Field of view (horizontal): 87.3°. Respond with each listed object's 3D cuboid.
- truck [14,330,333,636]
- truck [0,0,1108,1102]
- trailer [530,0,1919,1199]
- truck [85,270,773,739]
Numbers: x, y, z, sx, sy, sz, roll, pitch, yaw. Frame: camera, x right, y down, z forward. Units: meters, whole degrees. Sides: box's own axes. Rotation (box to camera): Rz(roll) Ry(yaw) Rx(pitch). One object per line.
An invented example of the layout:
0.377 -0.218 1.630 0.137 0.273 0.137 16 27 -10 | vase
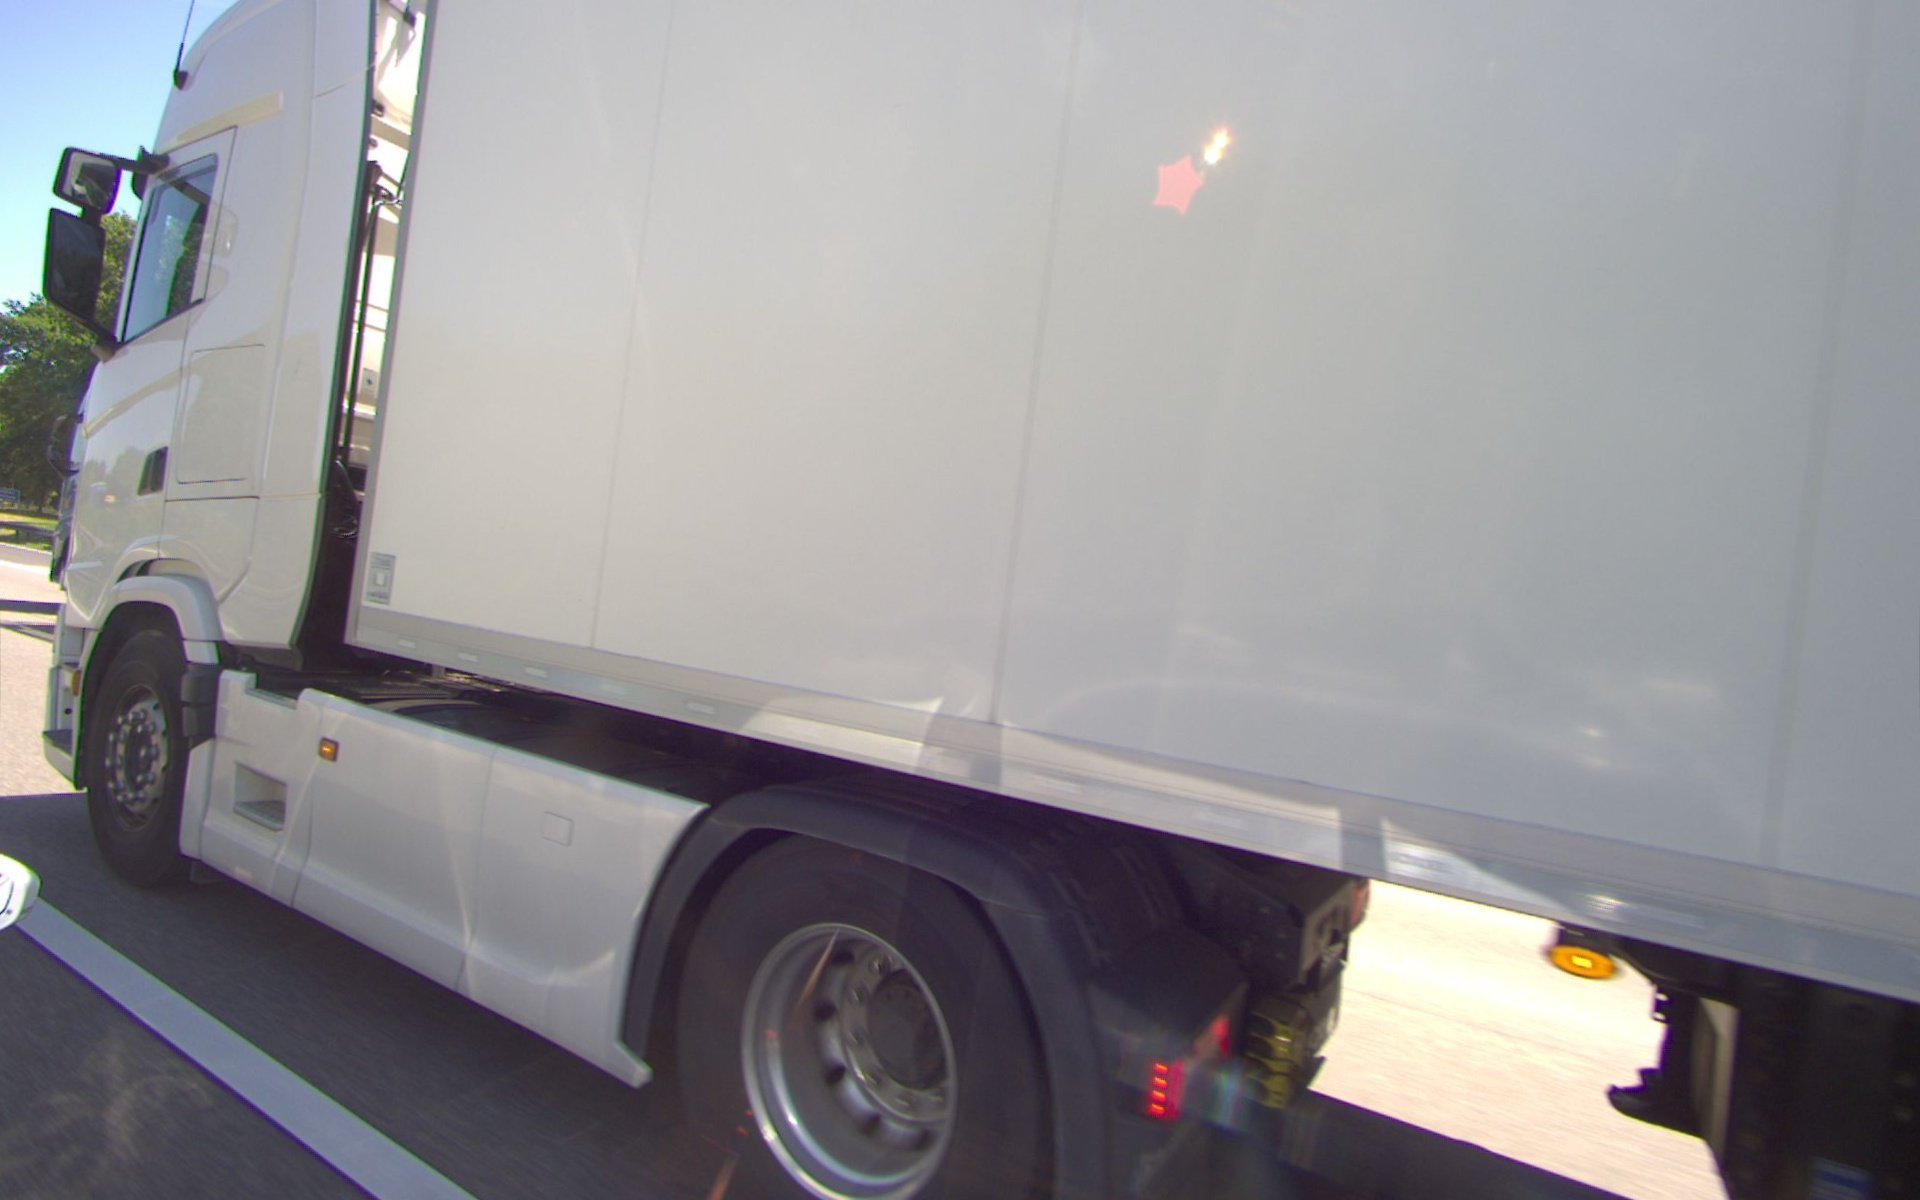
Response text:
-12.492 -1.751 15.964 4.005 4.086 2.452 6 -1 33 | truck
-2.173 -0.885 5.149 4.483 4.209 3.233 7 0 31 | truck
5.166 -0.009 0.655 12.145 4.194 3.228 7 0 31 | trailer
-7.223 -1.183 12.548 10.369 4.092 2.446 6 -1 33 | truck
